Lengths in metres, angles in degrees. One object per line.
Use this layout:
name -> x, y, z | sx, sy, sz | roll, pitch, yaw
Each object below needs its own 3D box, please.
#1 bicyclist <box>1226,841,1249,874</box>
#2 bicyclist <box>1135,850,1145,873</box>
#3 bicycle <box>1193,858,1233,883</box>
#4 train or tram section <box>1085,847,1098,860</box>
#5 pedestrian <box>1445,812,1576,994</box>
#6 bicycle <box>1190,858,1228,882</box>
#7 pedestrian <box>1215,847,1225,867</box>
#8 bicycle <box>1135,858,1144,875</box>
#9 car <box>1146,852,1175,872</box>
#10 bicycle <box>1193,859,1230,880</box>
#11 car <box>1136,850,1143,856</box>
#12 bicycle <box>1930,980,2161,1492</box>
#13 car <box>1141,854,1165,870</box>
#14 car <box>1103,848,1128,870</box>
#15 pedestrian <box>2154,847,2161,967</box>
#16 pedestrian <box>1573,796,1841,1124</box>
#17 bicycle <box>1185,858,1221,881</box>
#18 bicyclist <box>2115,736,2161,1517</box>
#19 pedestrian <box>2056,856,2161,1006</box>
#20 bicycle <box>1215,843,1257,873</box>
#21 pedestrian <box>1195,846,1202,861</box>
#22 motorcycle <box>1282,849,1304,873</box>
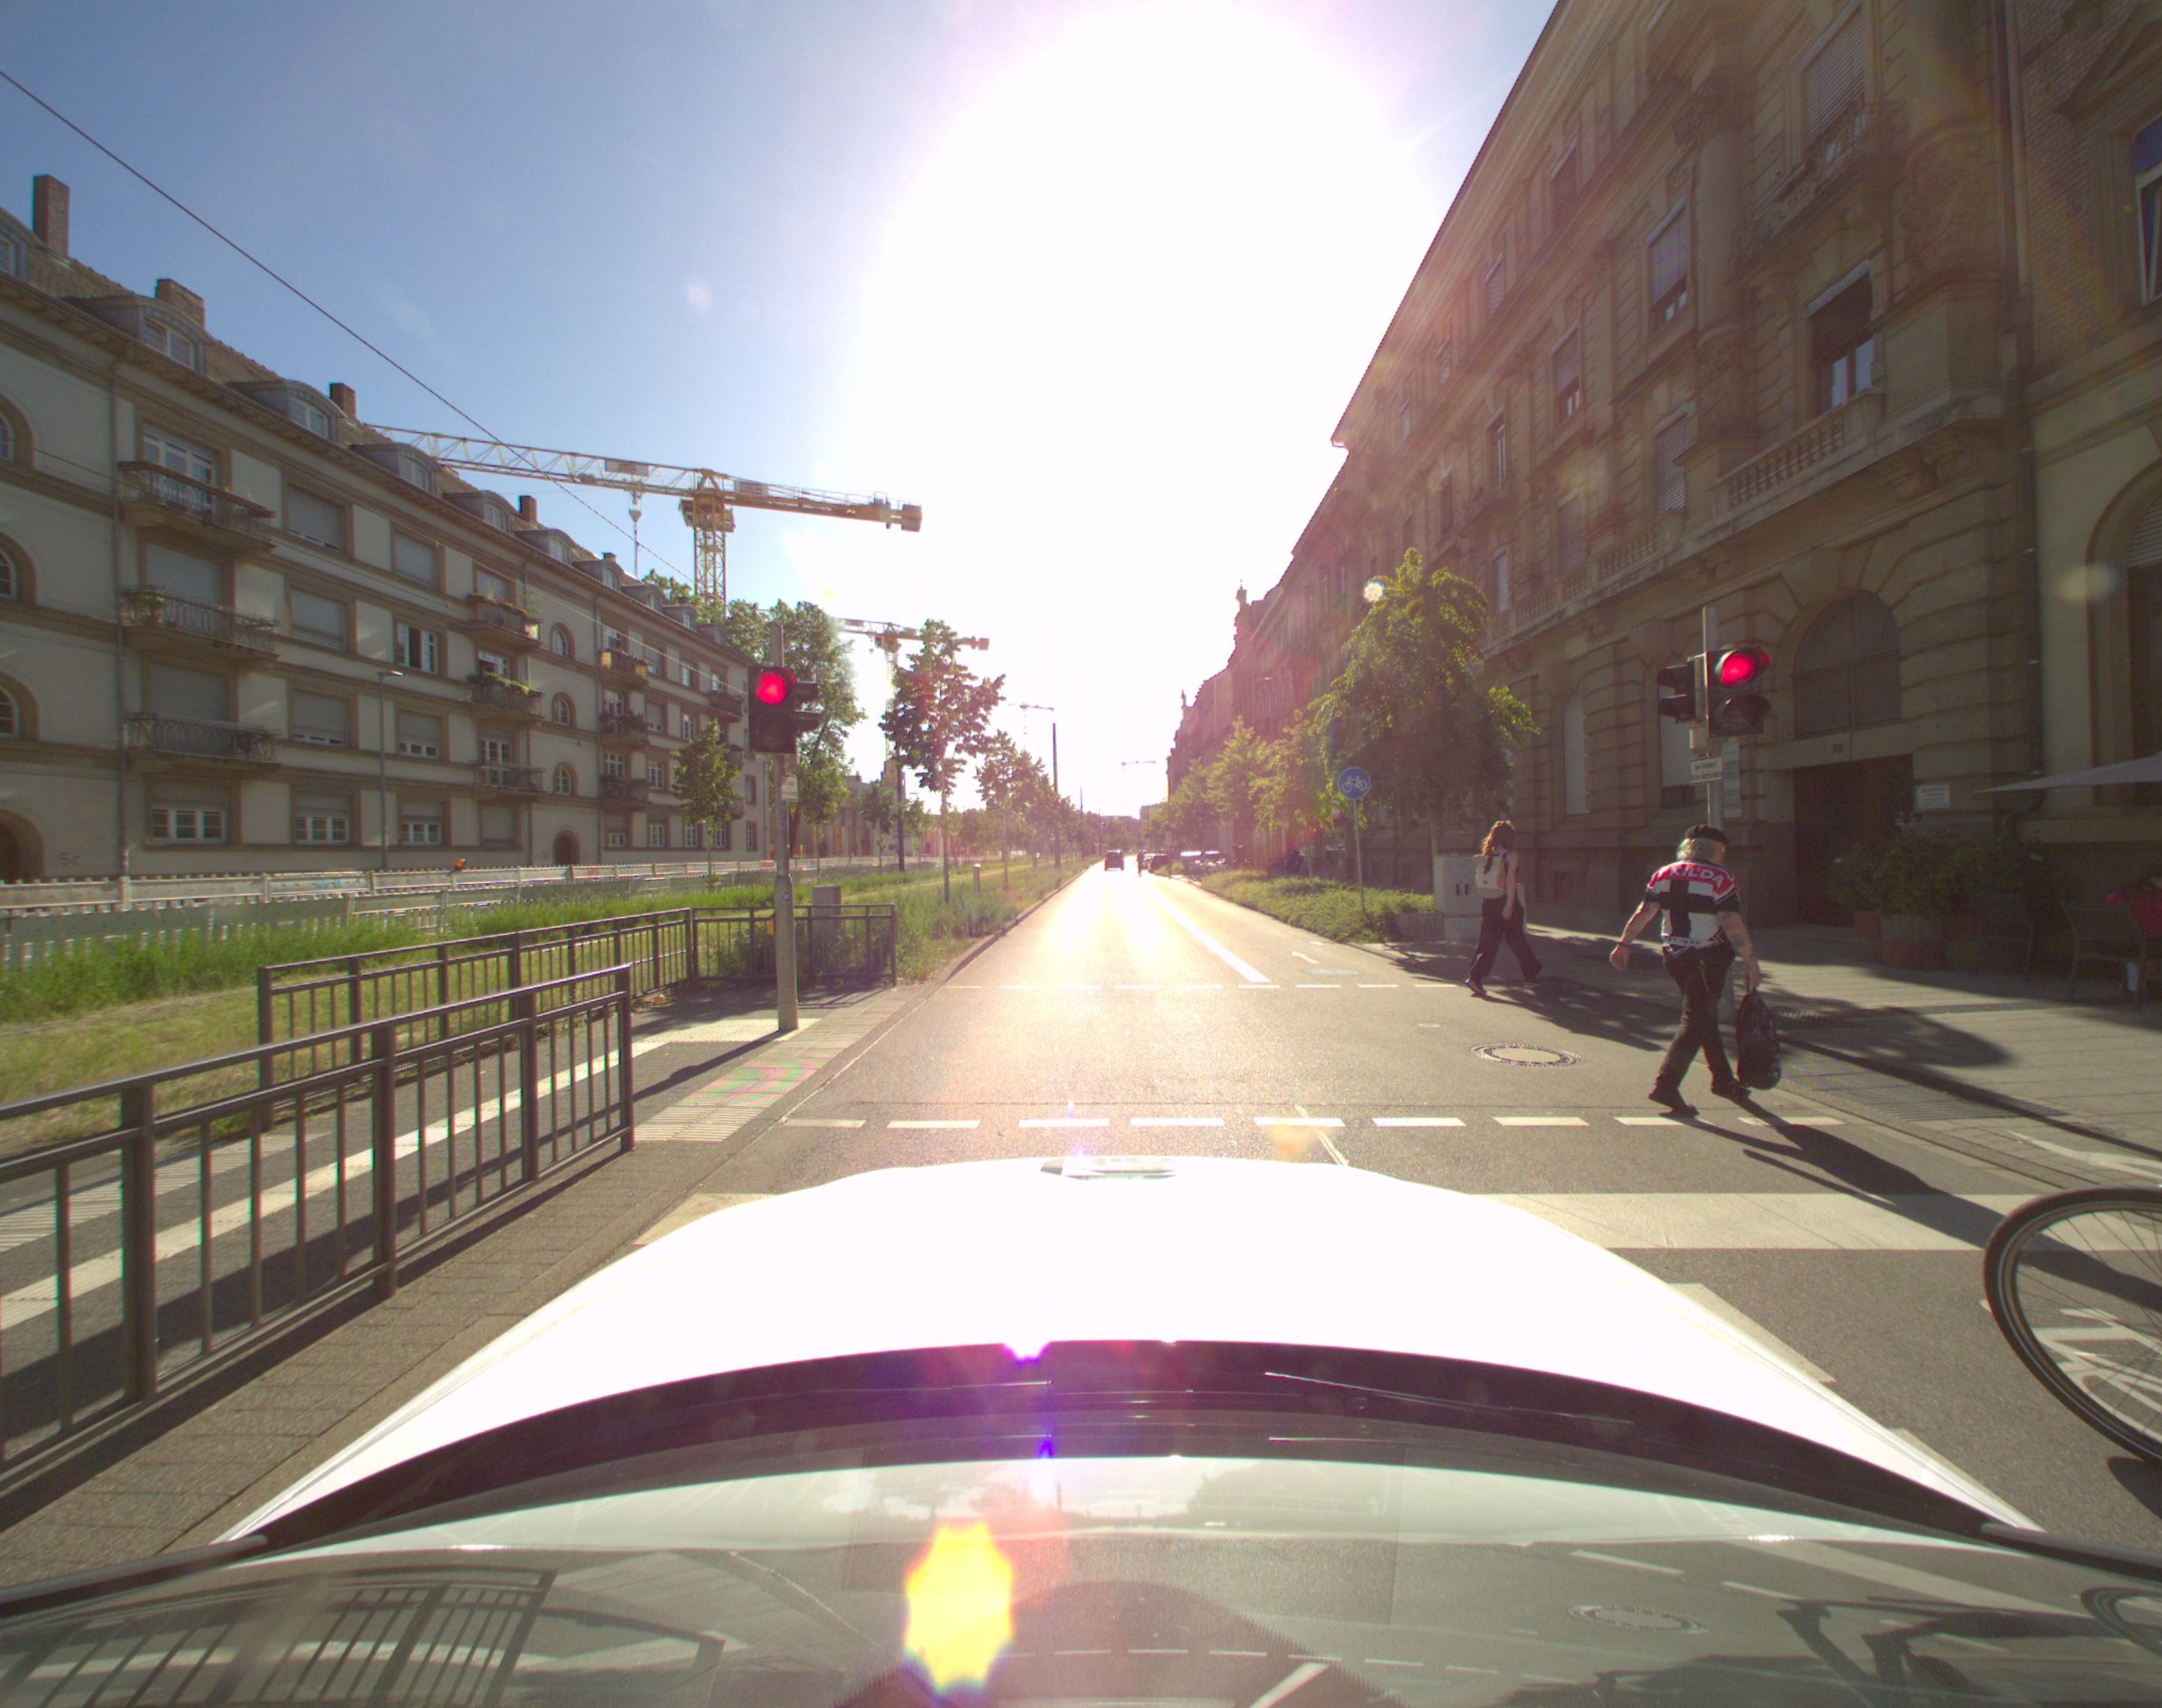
bicyclist -> 7.882, 0.171, 41.044 | 0.790, 1.530, 0.667 | -6, 0, 35
bicyclist -> 4.242, 0.514, 58.996 | 0.681, 1.673, 0.922 | 0, 0, 1
bicycle -> 6.413, 0.801, 39.524 | 1.786, 1.030, 0.528 | -6, 0, 1
train or tram section -> 2.441, -0.102, 187.652 | 2.745, 2.743, 9.870 | 0, -1, 3
pedestrian -> 4.761, 0.520, 9.068 | 1.073, 1.908, 0.652 | -2, 0, -5
bicycle -> 6.456, 0.784, 41.065 | 1.786, 1.030, 0.528 | -6, 0, 1
pedestrian -> 11.391, 0.279, 66.758 | 0.611, 1.611, 0.669 | -2, 0, 1
bicycle -> 4.221, 0.868, 58.804 | 0.599, 1.181, 1.870 | 0, 0, 1
car -> 6.547, 0.638, 67.440 | 2.020, 1.499, 4.655 | -2, 0, 2
bicycle -> 6.800, 0.830, 42.477 | 1.786, 1.030, 0.528 | -2, 0, 1
car -> 17.232, -0.167, 240.489 | 1.986, 1.729, 4.001 | 0, -1, 2
bicycle -> 2.751, 0.921, 1.493 | 0.555, 1.092, 1.793 | 0, 0, 1
car -> 6.992, 0.742, 79.786 | 2.020, 1.499, 4.532 | -2, 0, 2
car -> 3.228, 0.467, 76.389 | 2.192, 1.926, 4.655 | -2, 0, 2
pedestrian -> 9.978, 0.535, 6.959 | 0.703, 1.236, 0.635 | -3, 0, 1
pedestrian -> 3.741, 0.573, 4.963 | 0.863, 1.788, 0.969 | -1, 0, -5
bicycle -> 6.562, 0.840, 43.908 | 1.786, 1.030, 0.528 | -6, 0, 1
bicyclist -> 2.751, 0.600, 1.431 | 0.776, 1.711, 0.869 | 0, 0, 1
pedestrian -> 9.106, 0.630, 6.969 | 0.703, 1.178, 0.635 | -3, 0, 1
bicycle -> 7.811, 0.184, 41.101 | 1.875, 1.330, 0.621 | -6, 0, 35
pedestrian -> 12.711, -0.083, 87.973 | 0.611, 1.611, 0.669 | -2, 0, 1
motorcycle -> 11.472, 0.377, 44.038 | 0.697, 1.267, 1.983 | -2, 0, 2
